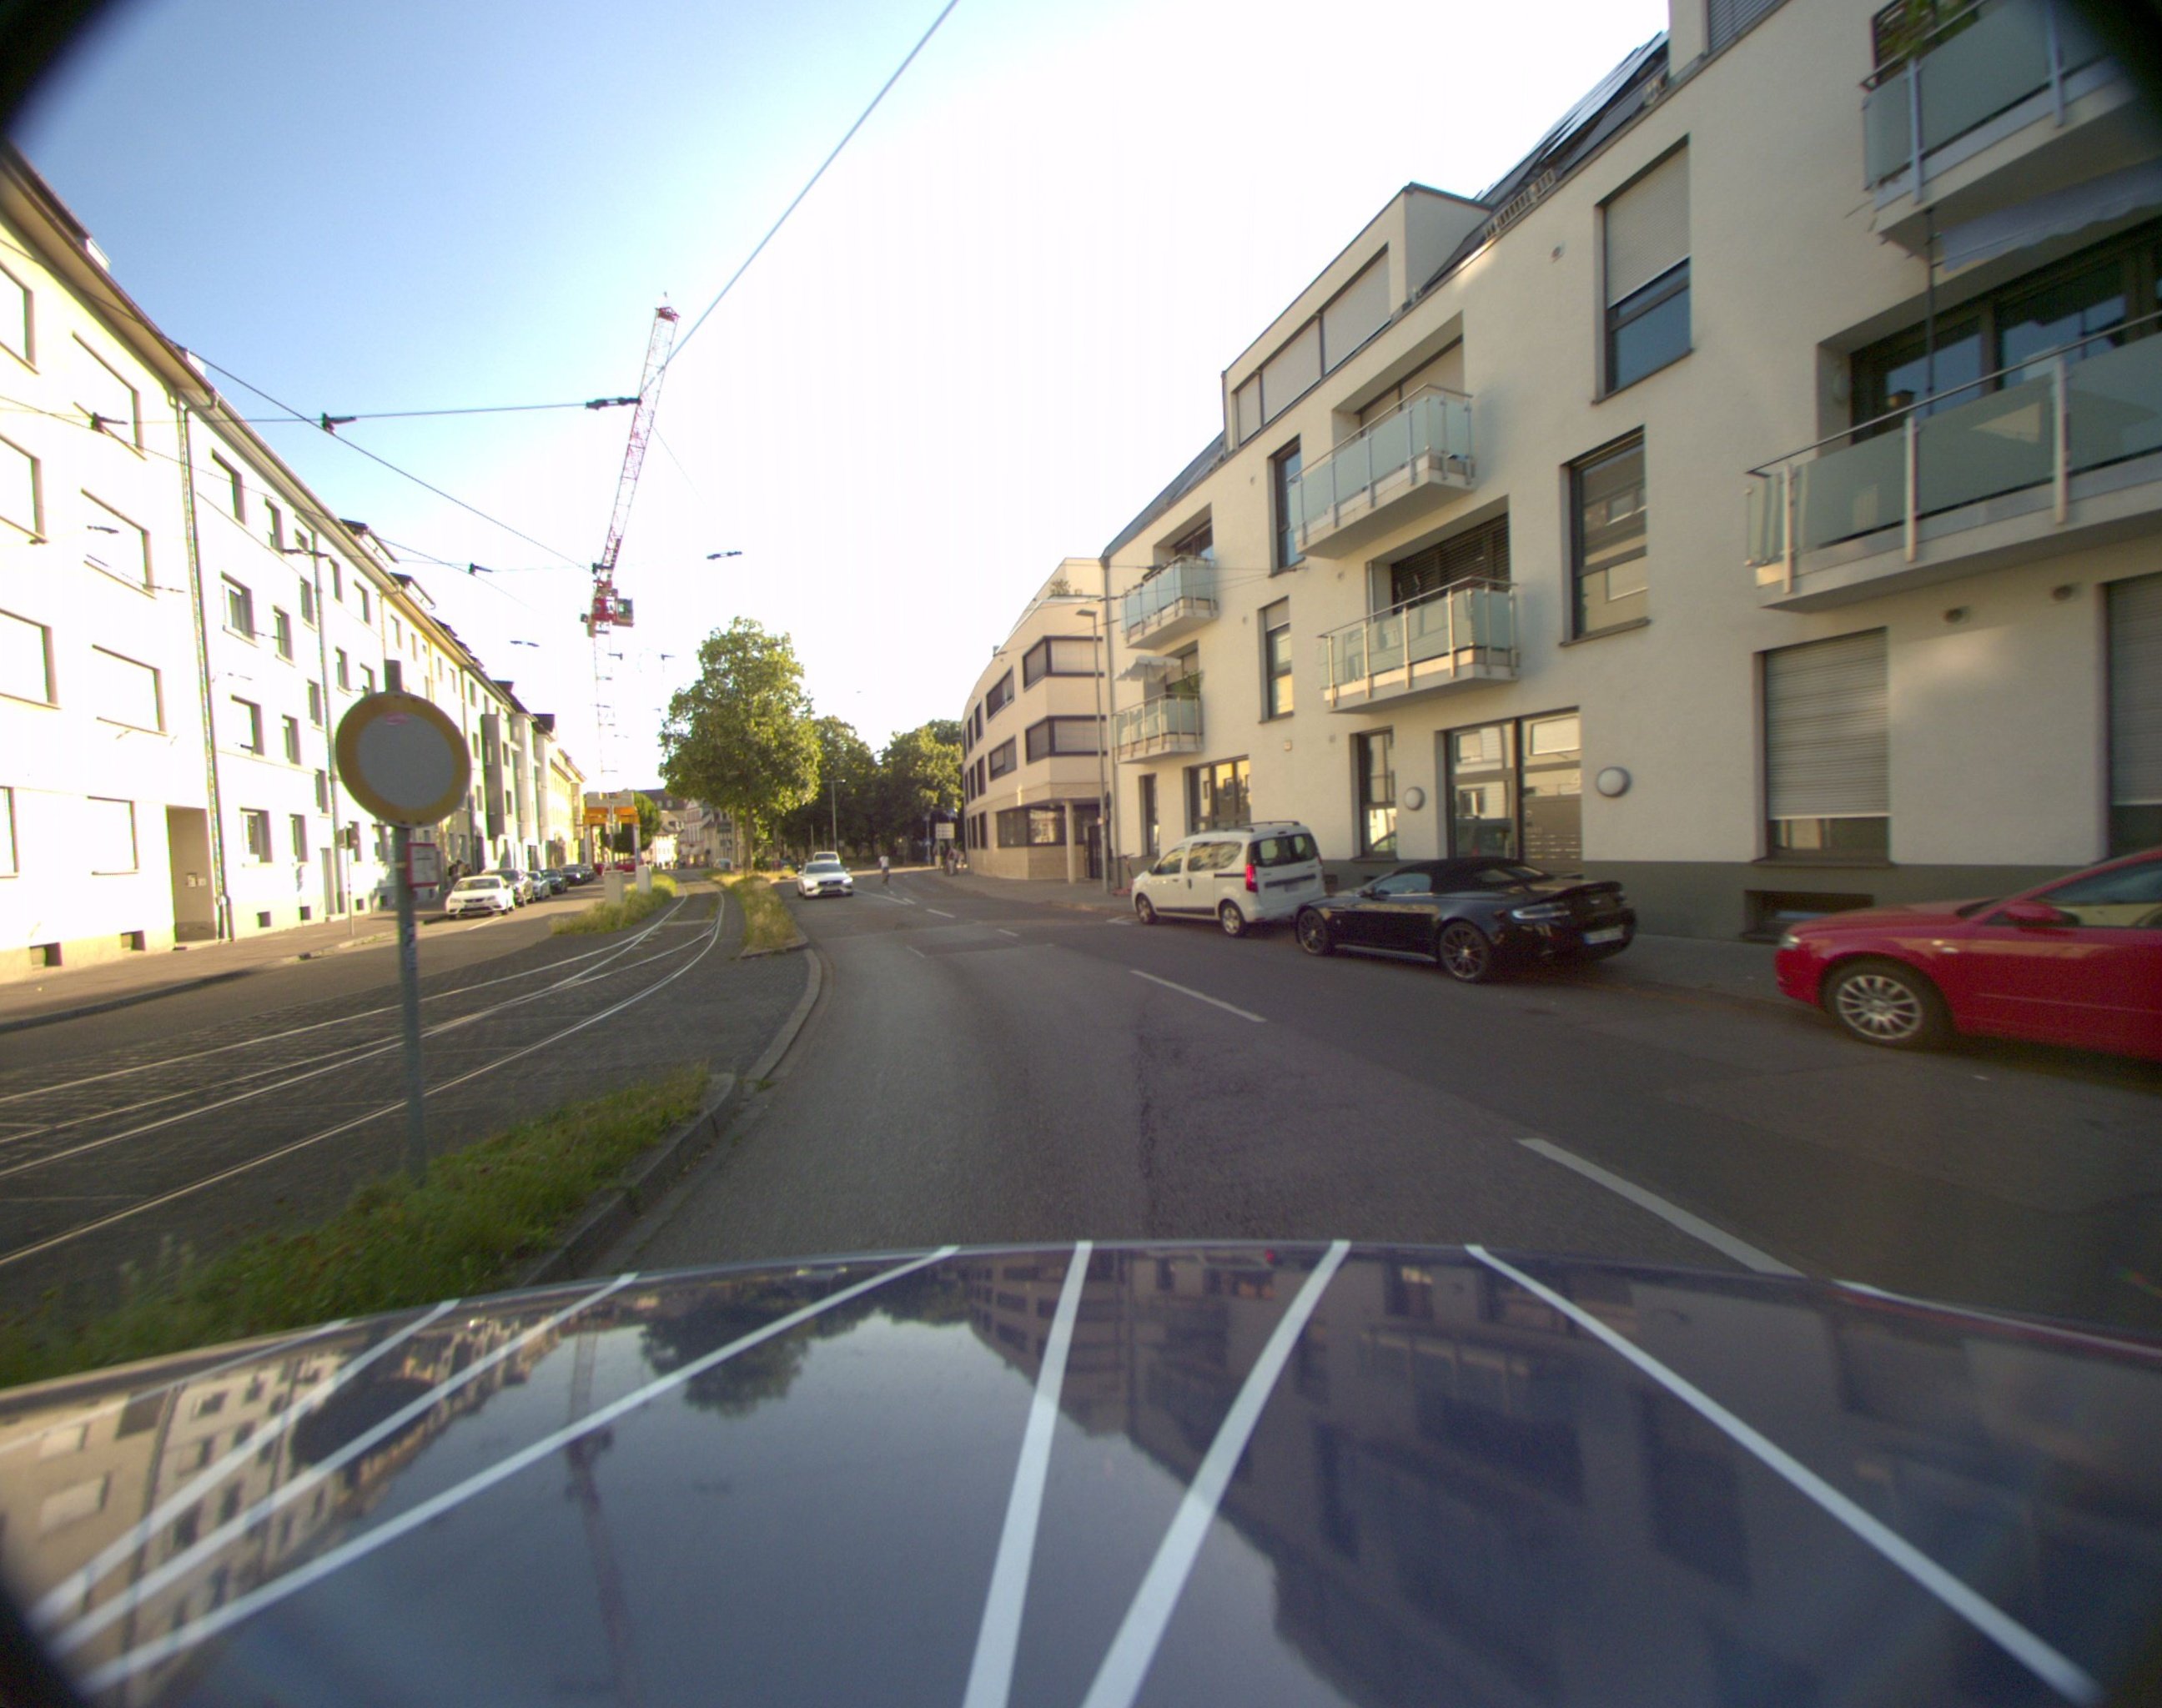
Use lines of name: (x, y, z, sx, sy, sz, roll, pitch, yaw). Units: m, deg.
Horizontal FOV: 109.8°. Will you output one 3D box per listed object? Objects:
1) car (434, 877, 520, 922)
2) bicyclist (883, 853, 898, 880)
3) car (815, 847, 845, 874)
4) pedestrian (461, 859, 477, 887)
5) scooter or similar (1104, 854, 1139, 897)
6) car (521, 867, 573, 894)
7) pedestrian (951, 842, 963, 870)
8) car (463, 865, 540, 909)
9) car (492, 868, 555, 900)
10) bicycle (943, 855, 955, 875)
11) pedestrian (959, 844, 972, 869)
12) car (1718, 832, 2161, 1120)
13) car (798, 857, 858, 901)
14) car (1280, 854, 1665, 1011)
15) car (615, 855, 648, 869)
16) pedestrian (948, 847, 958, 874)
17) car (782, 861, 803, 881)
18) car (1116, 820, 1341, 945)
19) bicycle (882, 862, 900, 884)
car: (-21.951, 1.588, 27.786, 2.003, 1.378, 4.435, -2, 0, -33)
bicyclist: (-9.915, 0.653, 39.568, 0.625, 1.372, 0.799, -2, 2, -23)
car: (-18.786, 0.486, 56.902, 2.001, 1.843, 4.894, -2, 0, -19)
pedestrian: (-31.904, 0.991, 39.597, 0.526, 1.432, 0.460, -3, 2, -29)
scooter or similar: (1.155, 0.621, 21.928, 0.225, 1.213, 1.152, -5, 1, -37)
car: (-30.329, 1.473, 43.270, 2.003, 1.378, 4.436, -2, 0, -30)
pedestrian: (-8.585, 0.135, 52.694, 0.607, 1.839, 0.991, -4, 2, -16)
car: (-24.539, 1.345, 32.353, 2.003, 1.563, 4.630, -2, 1, -30)
car: (-27.305, 1.429, 37.326, 2.003, 1.378, 4.436, -2, 0, -30)
bicycle: (-8.353, 0.692, 48.093, 0.441, 1.171, 1.966, -3, 0, -2)
pedestrian: (-8.050, 0.184, 52.836, 0.705, 1.704, 0.841, -4, 2, -16)
car: (6.662, 0.645, 4.210, 1.715, 1.458, 4.585, -5, 1, -16)
car: (-10.373, 0.956, 30.927, 1.856, 1.455, 4.763, -6, 2, -22)
car: (4.338, 0.732, 9.190, 1.671, 1.266, 4.018, -5, 3, -20)
car: (-64.777, 1.167, 109.507, 4.078, 1.910, 1.995, -2, 1, -32)
pedestrian: (-8.066, 0.403, 47.939, 0.475, 1.638, 0.602, -4, 1, -6)
car: (-26.680, 1.527, 70.220, 1.717, 1.607, 3.992, -3, 1, -21)
car: (2.538, 0.423, 14.220, 1.818, 1.859, 4.323, -5, 3, -26)
bicycle: (-9.915, 0.990, 39.581, 0.625, 1.075, 1.780, -2, 1, -23)
